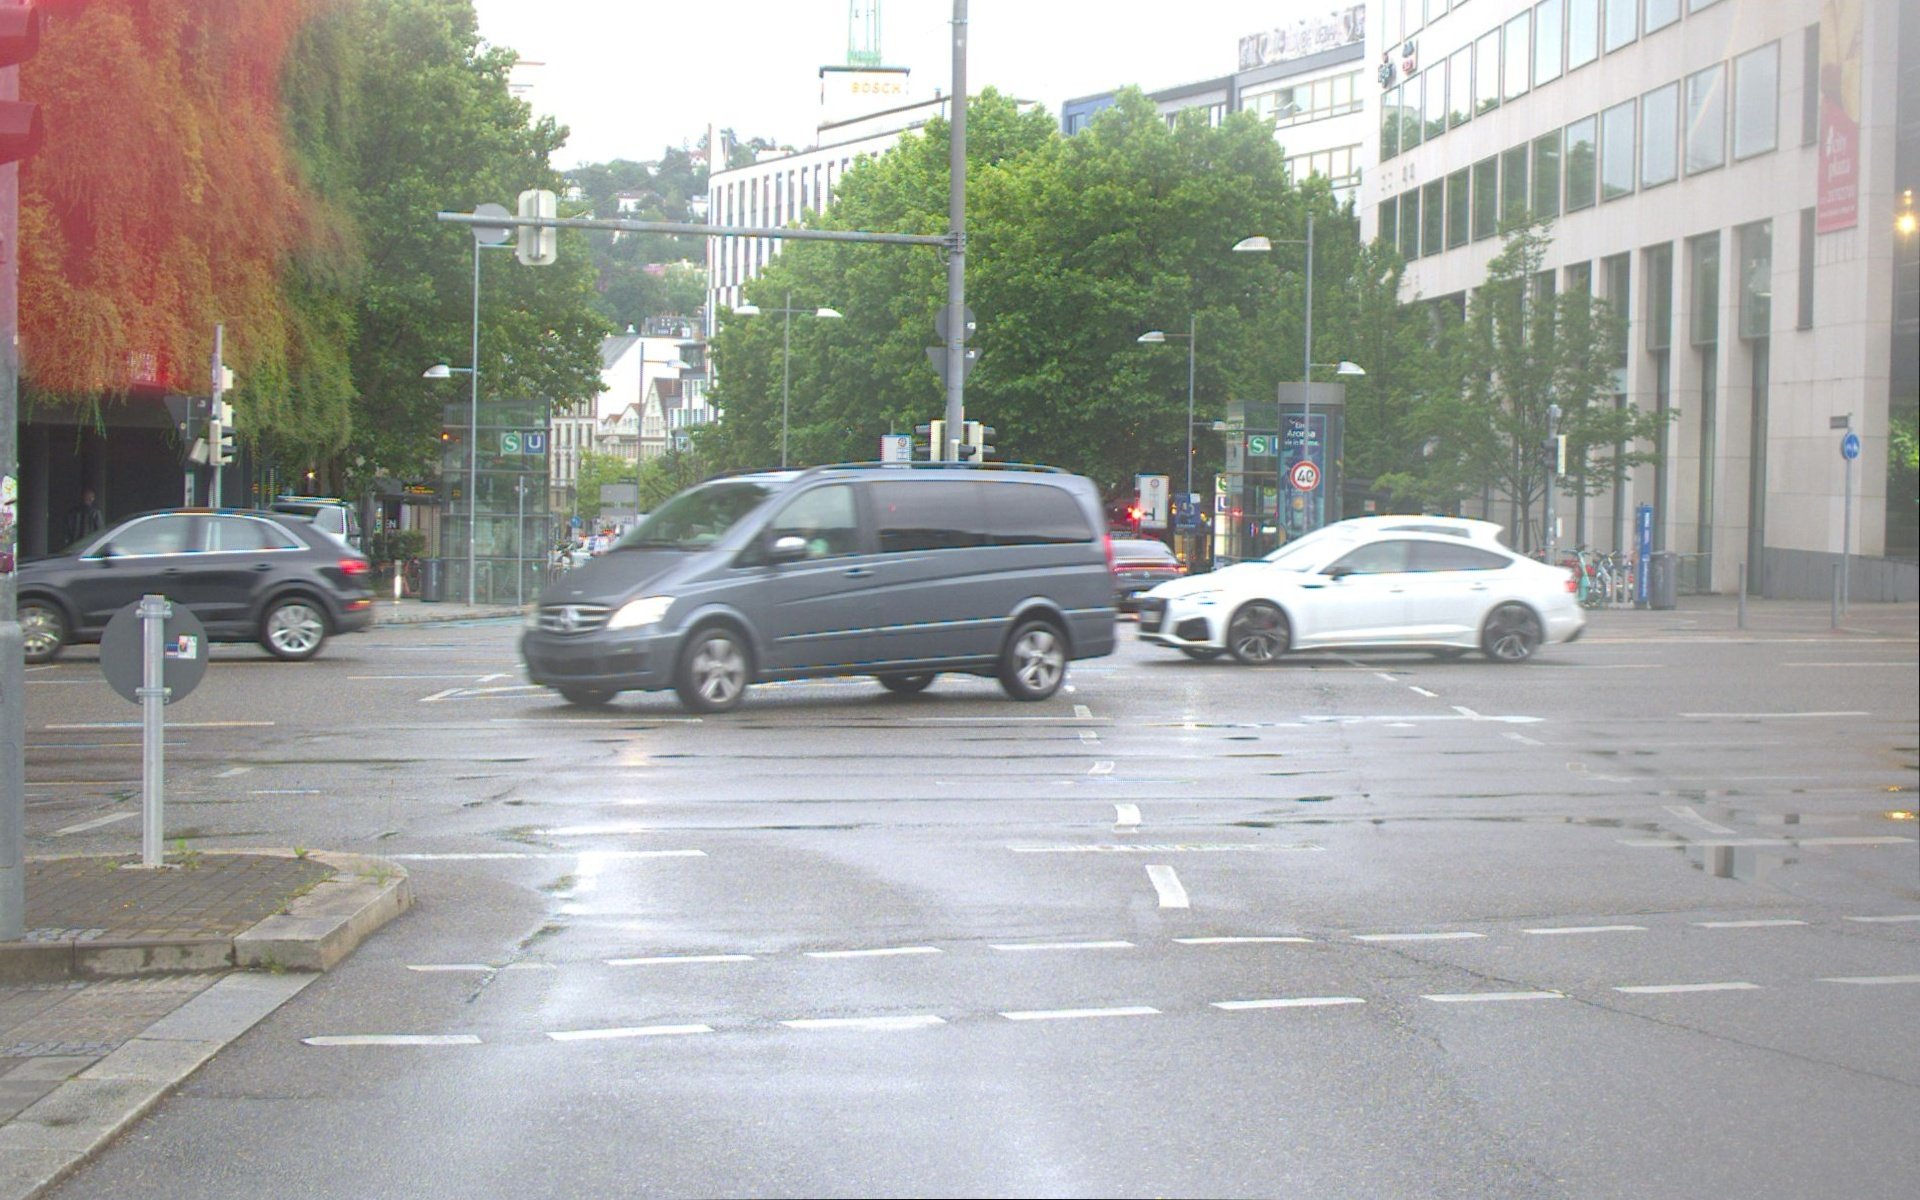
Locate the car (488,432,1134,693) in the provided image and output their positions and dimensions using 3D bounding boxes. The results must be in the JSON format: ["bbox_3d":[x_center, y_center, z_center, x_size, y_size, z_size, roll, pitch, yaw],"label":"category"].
[{"bbox_3d":[-1.121,-0.283,27.608,4.950,1.920,1.999,0,1,-39],"label":"car"}]

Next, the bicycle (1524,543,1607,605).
[{"bbox_3d":[11.690,-0.508,66.409,0.584,1.190,1.784,1,1,-28],"label":"bicycle"}]

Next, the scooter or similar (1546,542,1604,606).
[{"bbox_3d":[11.479,-0.488,64.172,0.963,1.190,0.454,1,1,40],"label":"scooter or similar"}]

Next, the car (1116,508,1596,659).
[{"bbox_3d":[4.168,-0.166,36.319,4.682,1.507,1.811,1,1,-16],"label":"car"}]

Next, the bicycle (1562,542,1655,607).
[{"bbox_3d":[12.233,-0.485,64.857,1.624,1.190,0.586,1,0,26],"label":"bicycle"}]

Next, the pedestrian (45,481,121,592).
[{"bbox_3d":[-13.152,-0.945,51.560,0.933,1.638,0.774,1,0,-1],"label":"pedestrian"}]

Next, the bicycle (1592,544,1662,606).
[{"bbox_3d":[12.994,-0.482,66.967,0.586,1.190,1.779,1,1,38],"label":"bicycle"}]

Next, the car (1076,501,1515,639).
[{"bbox_3d":[3.861,-0.338,39.695,4.682,1.507,1.811,1,1,-16],"label":"car"}]

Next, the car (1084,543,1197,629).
[{"bbox_3d":[3.280,-0.261,63.094,1.781,1.503,4.000,1,1,-1],"label":"car"}]

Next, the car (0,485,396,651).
[{"bbox_3d":[-8.164,-0.330,35.776,4.402,1.632,2.001,1,1,-13],"label":"car"}]
